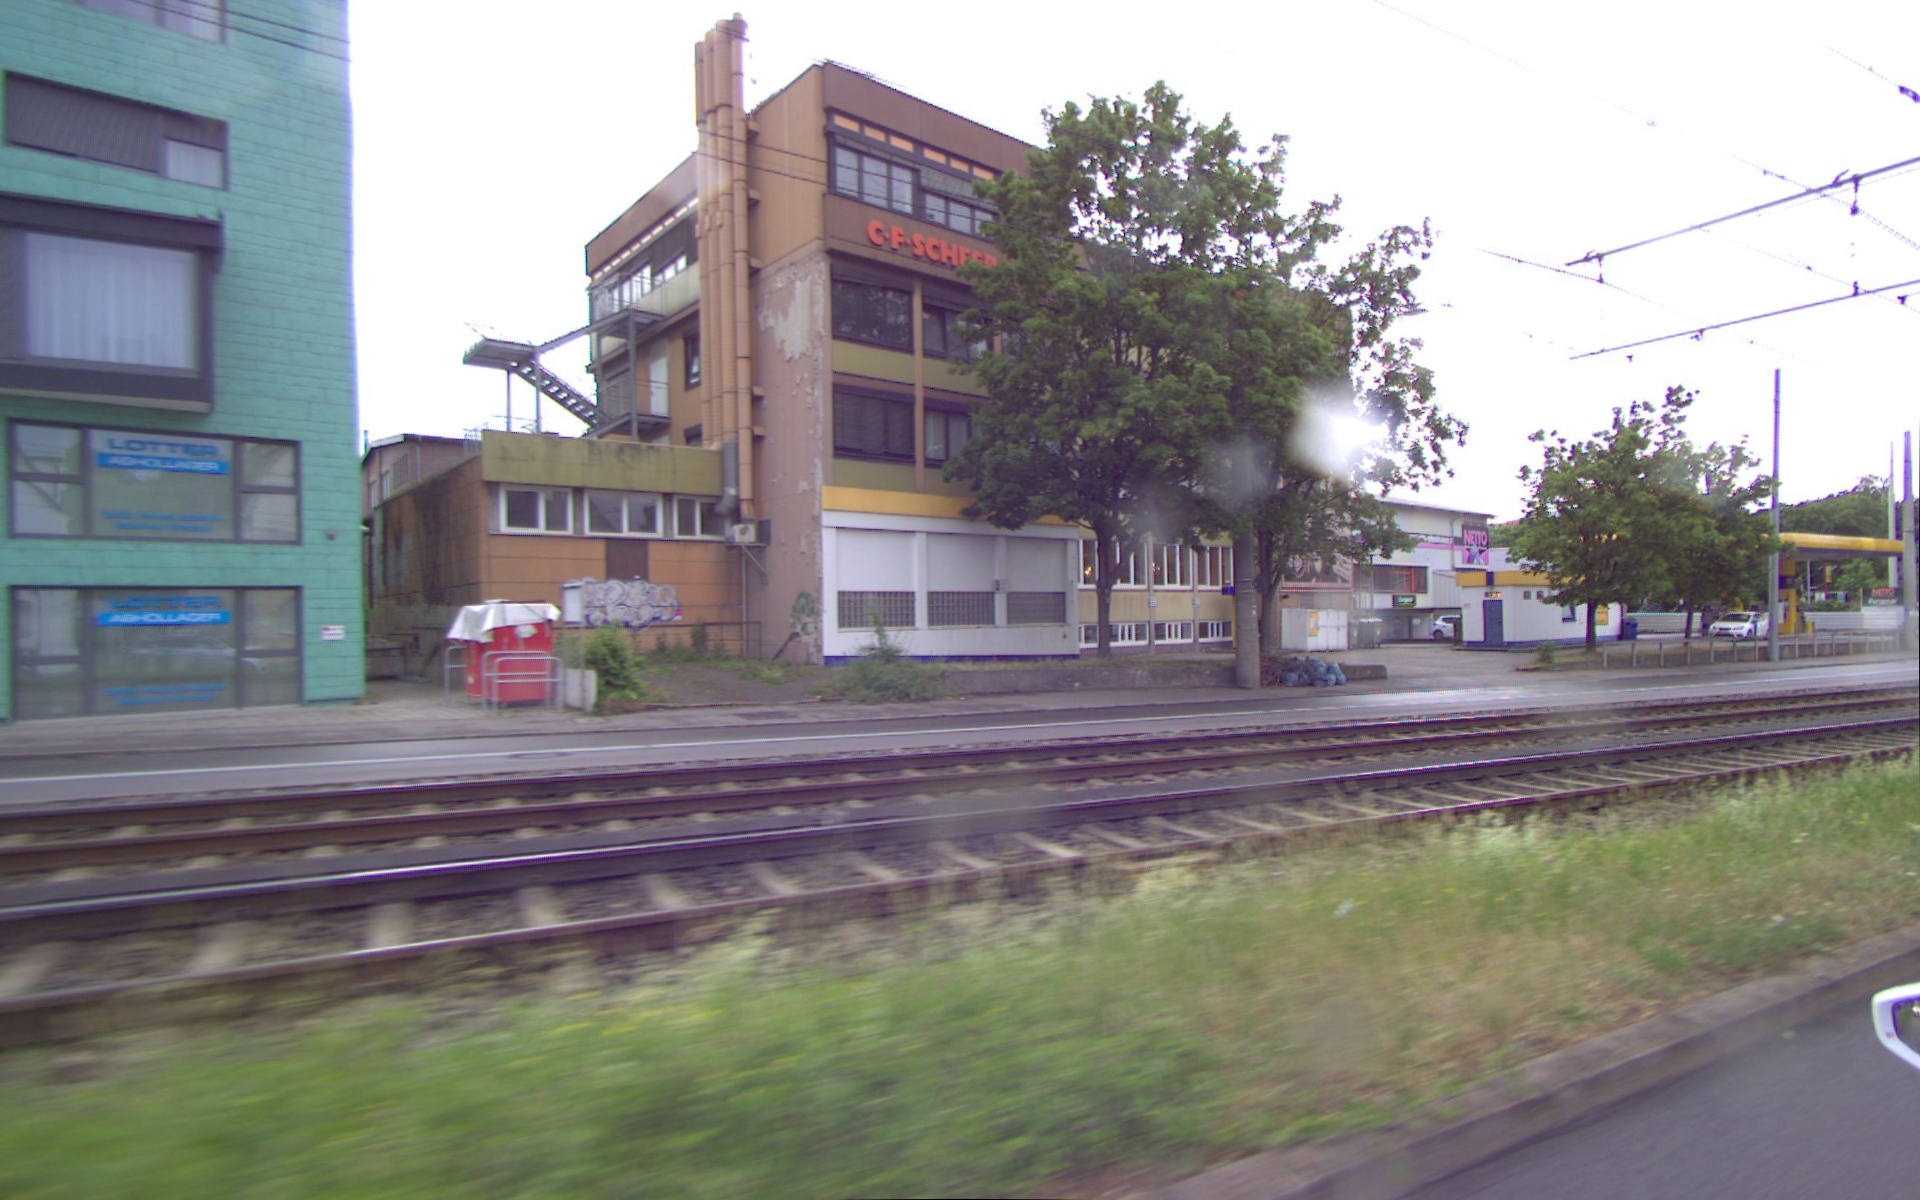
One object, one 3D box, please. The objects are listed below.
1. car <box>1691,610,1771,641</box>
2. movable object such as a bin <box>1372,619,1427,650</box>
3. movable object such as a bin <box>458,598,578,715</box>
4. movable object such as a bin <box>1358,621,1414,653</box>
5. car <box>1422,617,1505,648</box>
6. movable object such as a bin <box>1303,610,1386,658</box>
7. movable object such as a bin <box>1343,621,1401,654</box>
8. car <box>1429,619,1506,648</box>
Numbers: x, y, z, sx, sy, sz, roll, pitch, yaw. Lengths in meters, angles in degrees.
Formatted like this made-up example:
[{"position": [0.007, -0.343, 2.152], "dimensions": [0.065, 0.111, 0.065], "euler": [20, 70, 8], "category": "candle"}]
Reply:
[{"position": [39.615, 1.314, 51.603], "dimensions": [3.955, 1.461, 1.983], "euler": [1, 0, -32], "category": "car"}, {"position": [21.357, 1.657, 48.864], "dimensions": [1.557, 1.394, 1.976], "euler": [-1, 1, -40], "category": "movable object such as a bin"}, {"position": [-9.030, 1.081, 20.476], "dimensions": [1.786, 2.186, 2.117], "euler": [-1, 1, -38], "category": "movable object such as a bin"}, {"position": [20.206, 1.736, 47.643], "dimensions": [1.557, 1.394, 1.976], "euler": [-1, 1, -40], "category": "movable object such as a bin"}, {"position": [26.407, 1.674, 52.742], "dimensions": [3.714, 1.473, 1.547], "euler": [1, 0, 36], "category": "car"}, {"position": [17.059, 1.449, 44.529], "dimensions": [3.542, 1.945, 1.976], "euler": [-1, 1, -41], "category": "movable object such as a bin"}, {"position": [19.023, 1.708, 46.367], "dimensions": [1.557, 1.394, 1.976], "euler": [-1, 1, -40], "category": "movable object such as a bin"}, {"position": [28.905, 1.897, 57.256], "dimensions": [3.714, 1.499, 1.570], "euler": [1, 0, 36], "category": "car"}]
